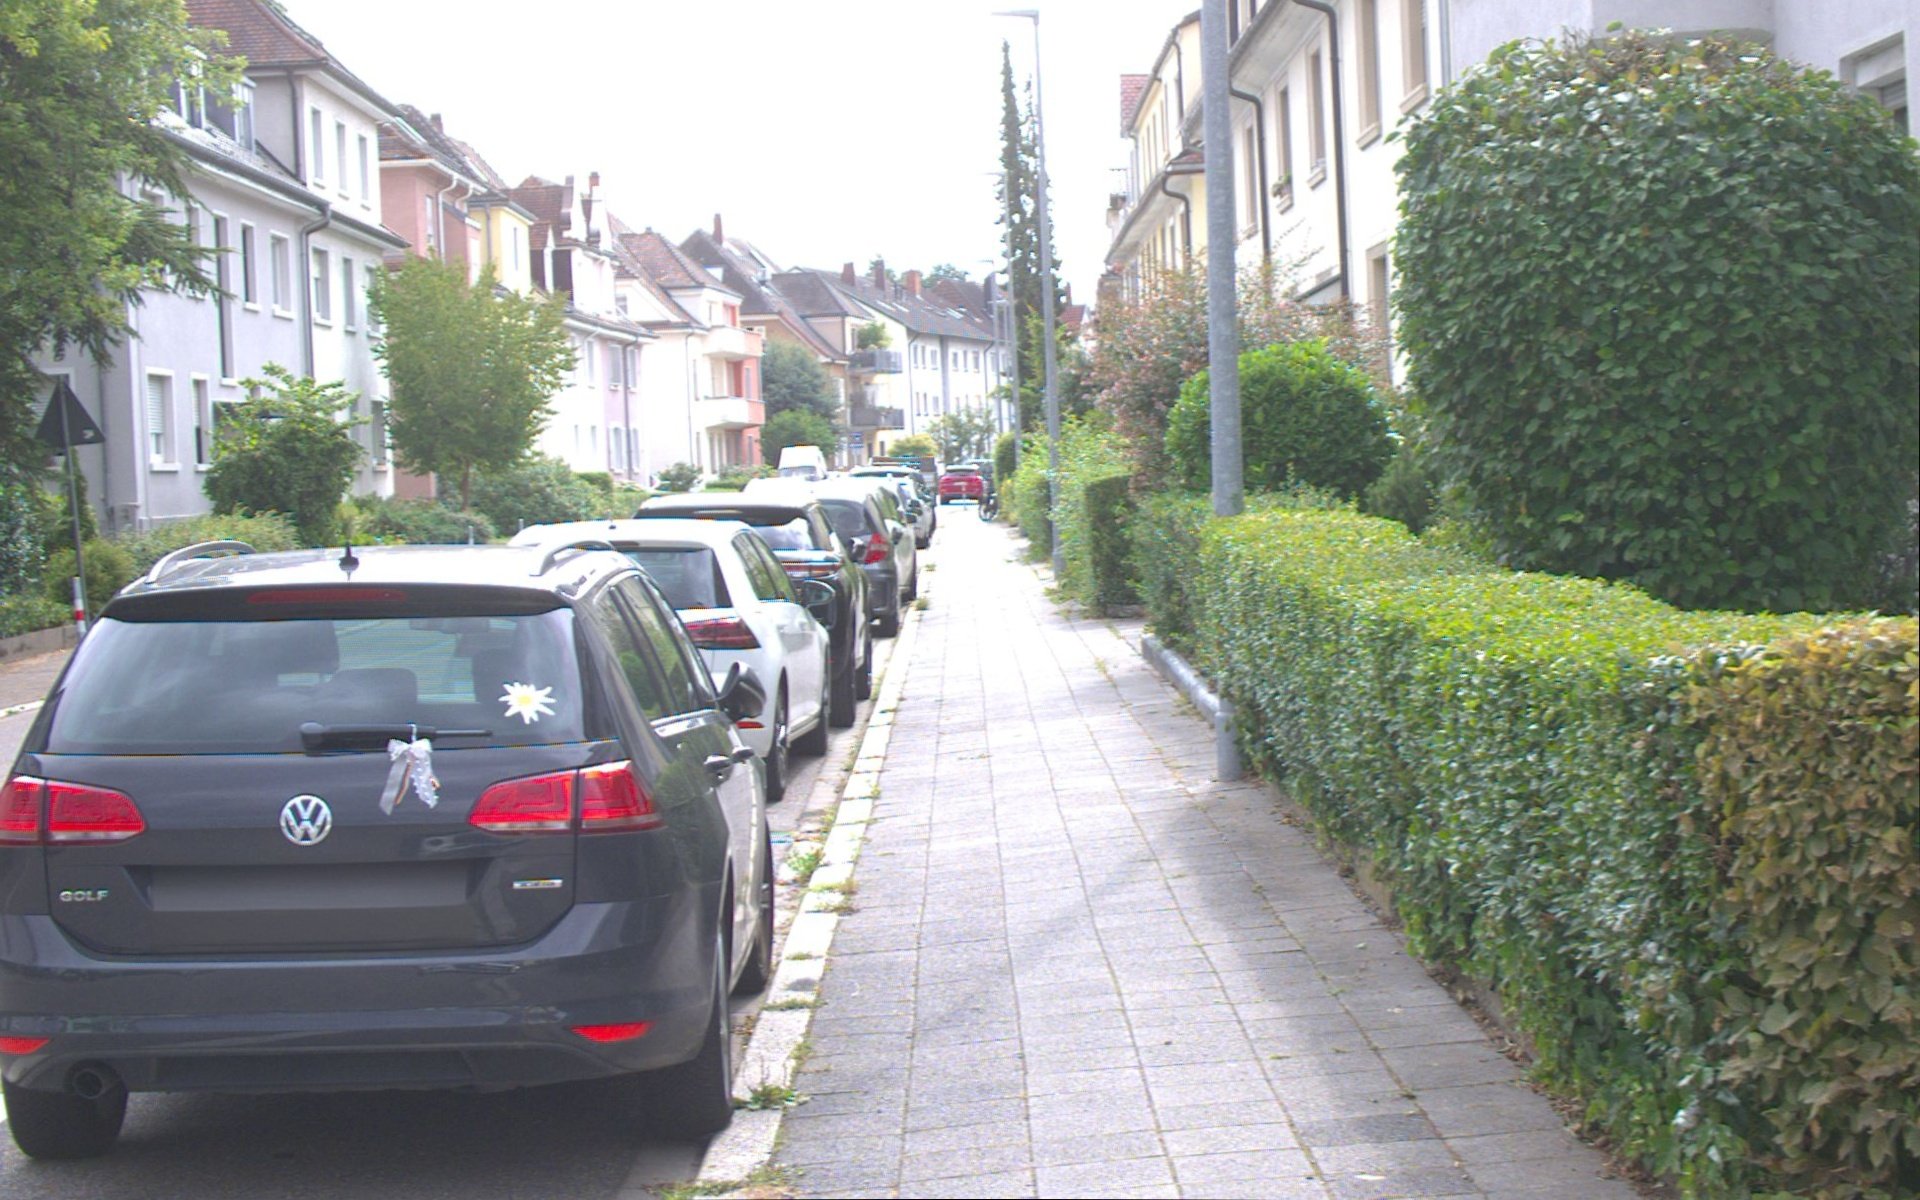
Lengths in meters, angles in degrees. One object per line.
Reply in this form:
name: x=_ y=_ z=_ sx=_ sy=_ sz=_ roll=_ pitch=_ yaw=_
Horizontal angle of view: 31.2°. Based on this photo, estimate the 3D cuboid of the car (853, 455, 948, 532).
car: x=-1.290 y=-2.377 z=75.853 sx=1.854 sy=1.572 sz=4.176 roll=-2 pitch=2 yaw=2

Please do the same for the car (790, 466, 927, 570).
car: x=-1.538 y=-1.312 z=53.533 sx=1.854 sy=1.466 sz=4.176 roll=-2 pitch=2 yaw=2

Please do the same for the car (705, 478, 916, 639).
car: x=-1.492 y=-0.480 z=35.787 sx=1.854 sy=1.466 sz=4.176 roll=-2 pitch=2 yaw=2

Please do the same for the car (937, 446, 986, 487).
car: x=0.071 y=-5.478 z=141.138 sx=1.854 sy=1.572 sz=4.176 roll=-2 pitch=2 yaw=2

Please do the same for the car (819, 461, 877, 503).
car: x=-4.673 y=-4.937 z=143.790 sx=1.994 sy=1.634 sz=4.000 roll=-2 pitch=2 yaw=4

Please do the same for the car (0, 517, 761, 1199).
car: x=-1.501 y=0.581 z=9.337 sx=1.853 sy=1.466 sz=4.176 roll=-2 pitch=2 yaw=-3

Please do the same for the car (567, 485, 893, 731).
car: x=-1.519 y=-0.019 z=24.187 sx=1.854 sy=1.466 sz=4.176 roll=-2 pitch=2 yaw=2

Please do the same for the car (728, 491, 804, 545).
car: x=-6.480 y=-2.767 z=115.125 sx=1.994 sy=1.634 sz=4.000 roll=-2 pitch=2 yaw=4

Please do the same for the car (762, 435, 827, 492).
car: x=-6.103 y=-5.057 z=127.219 sx=1.994 sy=2.006 sz=4.000 roll=-2 pitch=2 yaw=2

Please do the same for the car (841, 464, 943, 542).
car: x=-1.362 y=-2.006 z=70.249 sx=1.854 sy=1.466 sz=4.176 roll=-2 pitch=2 yaw=2

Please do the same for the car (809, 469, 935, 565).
car: x=-1.451 y=-1.422 z=57.884 sx=1.854 sy=1.466 sz=4.176 roll=-2 pitch=2 yaw=2

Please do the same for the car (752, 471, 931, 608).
car: x=-1.375 y=-0.769 z=41.375 sx=1.854 sy=1.466 sz=4.176 roll=-2 pitch=2 yaw=2

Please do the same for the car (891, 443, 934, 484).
car: x=-2.583 y=-7.471 z=187.701 sx=1.994 sy=2.116 sz=4.000 roll=-2 pitch=2 yaw=4

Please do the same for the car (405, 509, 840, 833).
car: x=-1.750 y=0.298 z=19.154 sx=1.854 sy=1.466 sz=4.176 roll=-2 pitch=2 yaw=2

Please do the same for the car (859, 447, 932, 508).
car: x=-1.759 y=-3.400 z=94.744 sx=1.854 sy=1.572 sz=4.176 roll=-2 pitch=2 yaw=0
